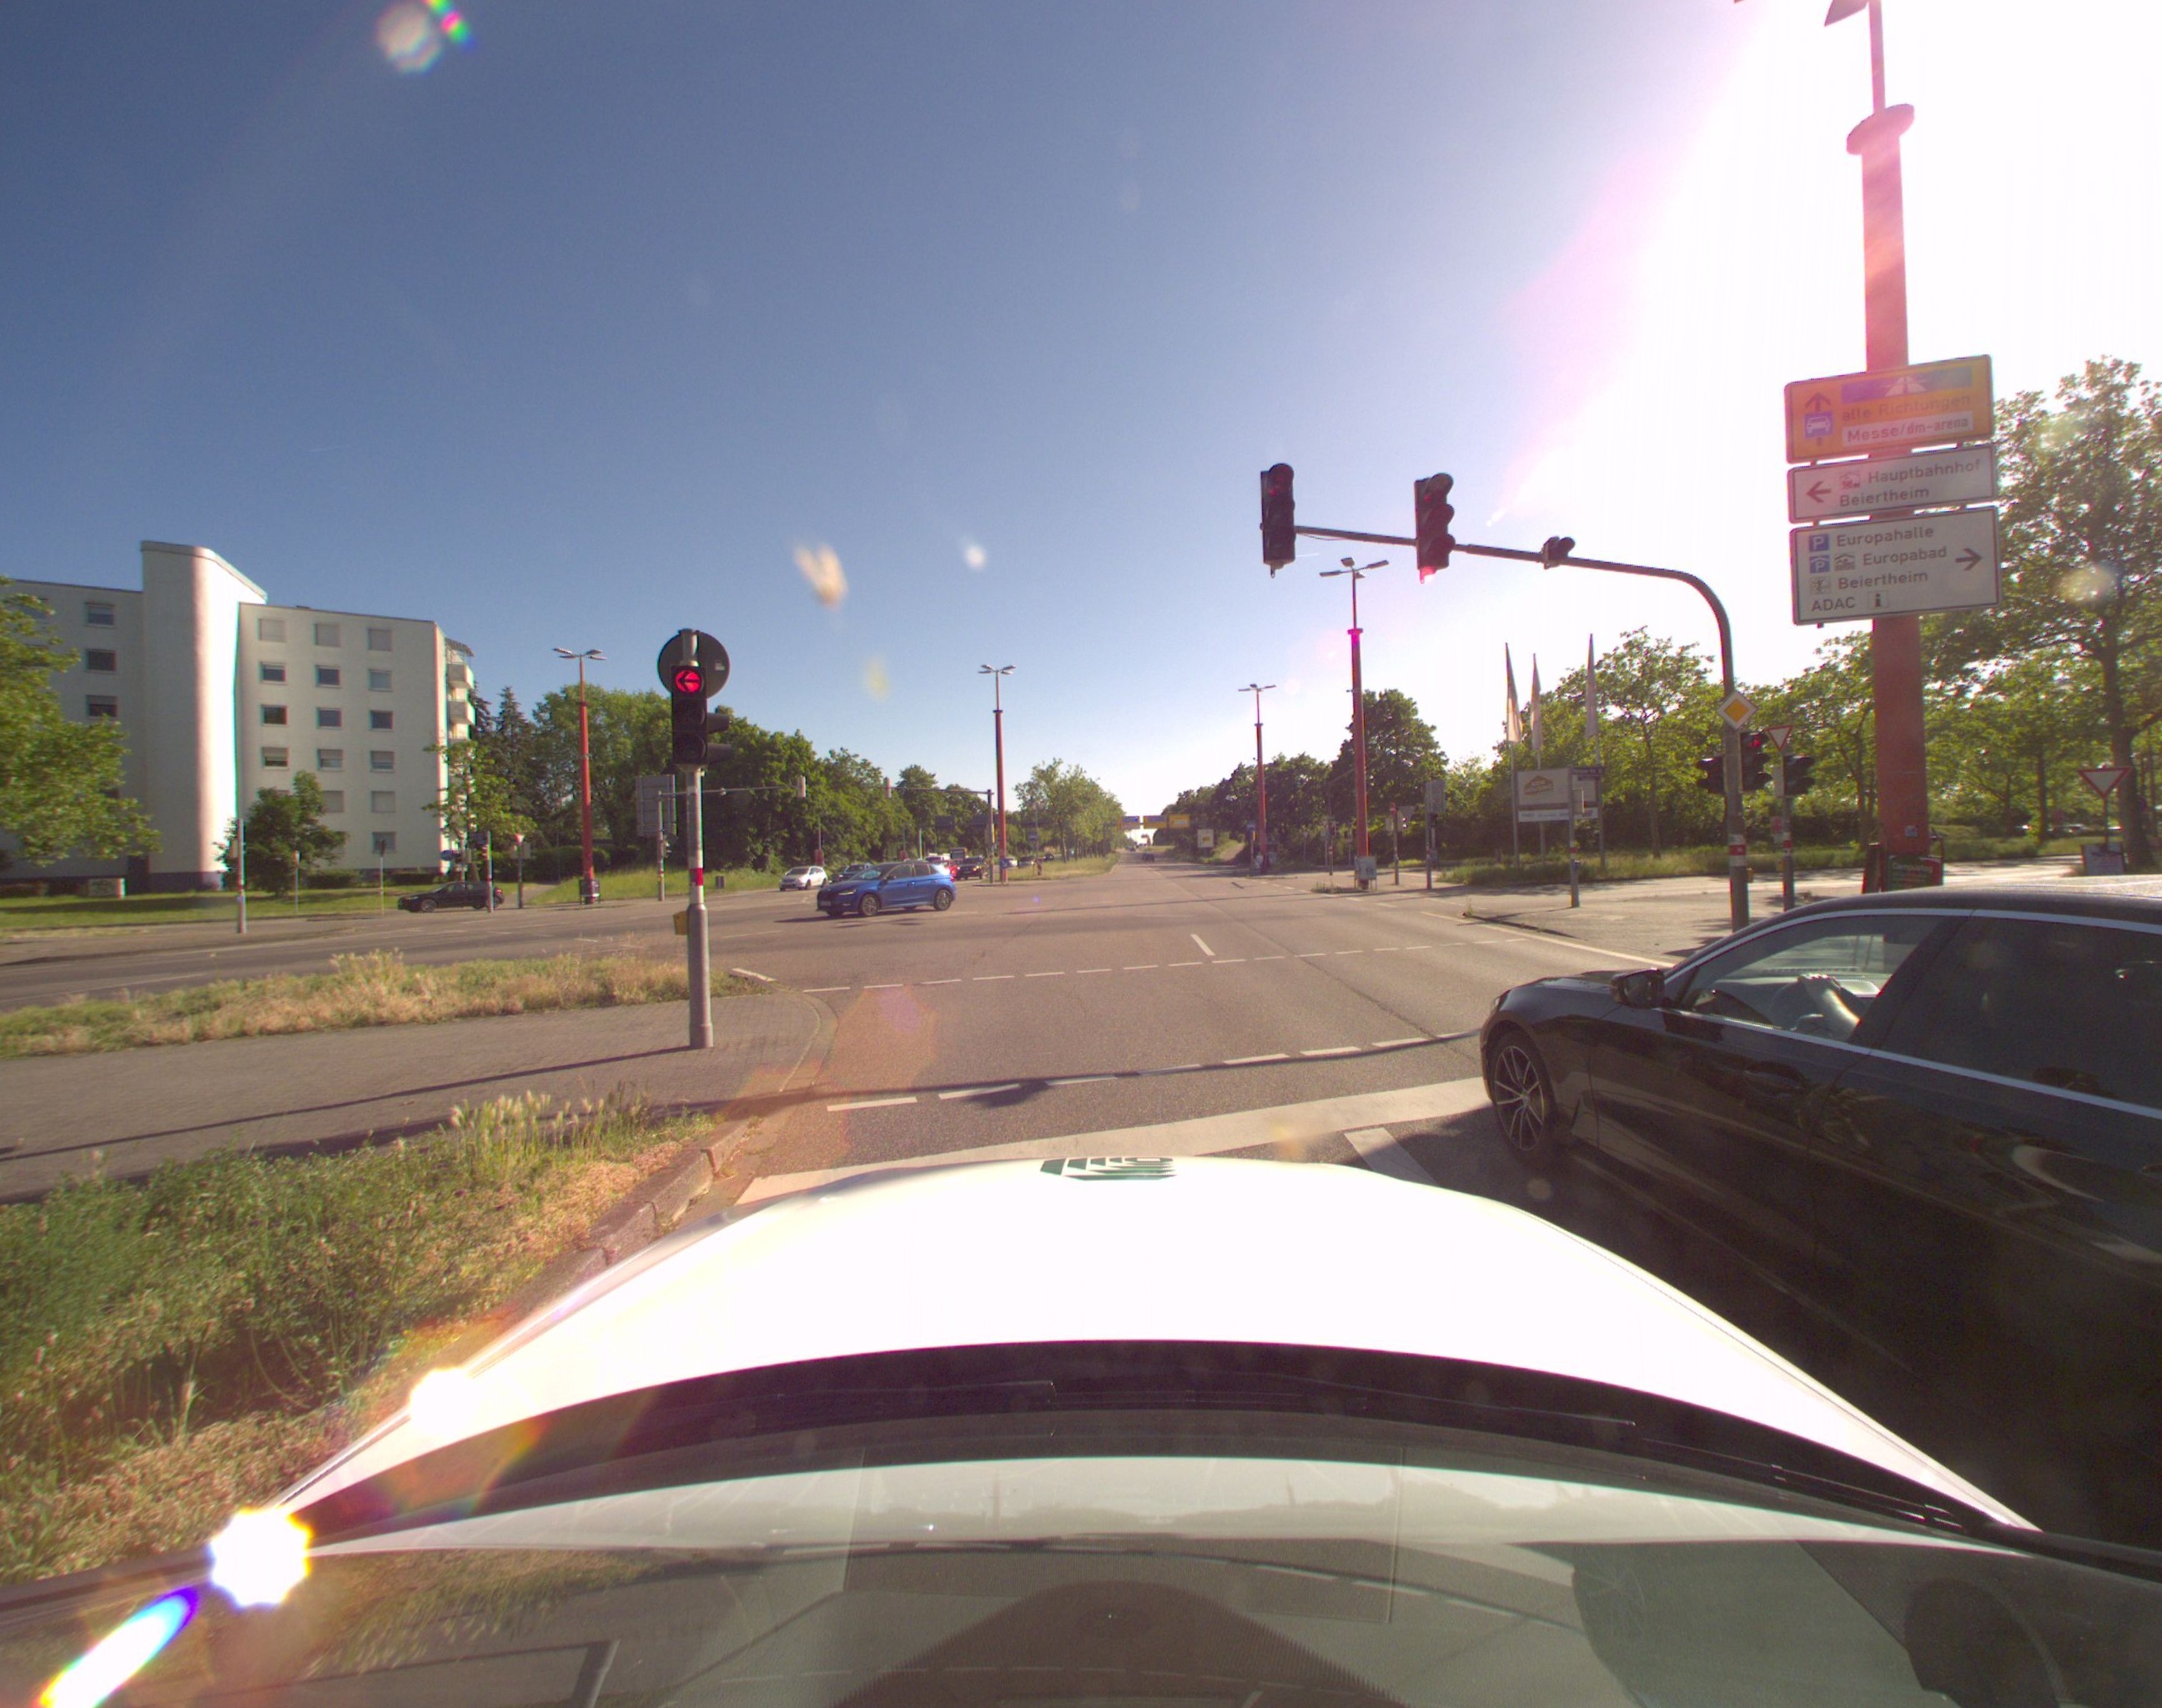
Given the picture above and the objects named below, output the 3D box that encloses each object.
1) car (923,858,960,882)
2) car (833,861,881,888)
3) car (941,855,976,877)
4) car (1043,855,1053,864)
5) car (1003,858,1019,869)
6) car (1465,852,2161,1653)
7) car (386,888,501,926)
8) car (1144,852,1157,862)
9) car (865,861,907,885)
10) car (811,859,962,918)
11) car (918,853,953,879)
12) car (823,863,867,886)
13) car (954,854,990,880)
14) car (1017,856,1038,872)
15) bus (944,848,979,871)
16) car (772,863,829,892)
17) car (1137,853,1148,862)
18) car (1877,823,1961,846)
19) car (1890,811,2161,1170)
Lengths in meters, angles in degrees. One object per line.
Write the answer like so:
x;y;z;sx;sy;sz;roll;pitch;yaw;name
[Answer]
-10.057;1.129;59.026;1.869;1.552;4.000;-5;0;0;car
-14.128;1.290;51.619;1.794;1.515;3.861;-3;0;2;car
-9.737;0.938;65.023;1.893;1.630;4.003;-1;0;3;car
-7.066;1.253;174.862;1.830;1.837;3.962;-2;0;2;car
-10.184;1.395;118.588;1.878;1.543;4.002;-3;0;2;car
2.874;0.717;2.320;1.756;1.441;4.299;0;-1;4;car
-30.440;2.501;38.968;1.815;1.503;3.975;-3;-1;37;car
12.032;0.551;141.539;1.986;1.733;4.001;0;-1;2;car
-13.764;1.292;57.765;1.895;1.555;4.000;-3;0;0;car
-5.401;0.925;22.978;1.559;1.420;3.934;-2;0;40;car
-12.713;1.005;71.304;1.954;2.155;5.083;-2;0;1;car
-17.548;1.508;60.682;1.877;1.513;4.003;-3;0;3;car
-7.518;0.862;56.705;1.787;1.626;4.144;-3;0;1;car
-5.874;1.066;89.682;1.878;1.543;4.002;-3;0;2;car
-17.594;0.799;120.795;2.635;3.261;12.545;0;0;3;bus
-17.635;1.428;51.420;1.869;1.652;4.222;-3;-1;3;car
12.119;0.721;159.602;1.986;1.733;4.001;0;-1;2;car
62.847;-1.431;61.146;4.263;1.635;1.772;0;-1;5;car
5.664;0.598;2.960;1.709;1.608;3.849;0;-1;2;car
